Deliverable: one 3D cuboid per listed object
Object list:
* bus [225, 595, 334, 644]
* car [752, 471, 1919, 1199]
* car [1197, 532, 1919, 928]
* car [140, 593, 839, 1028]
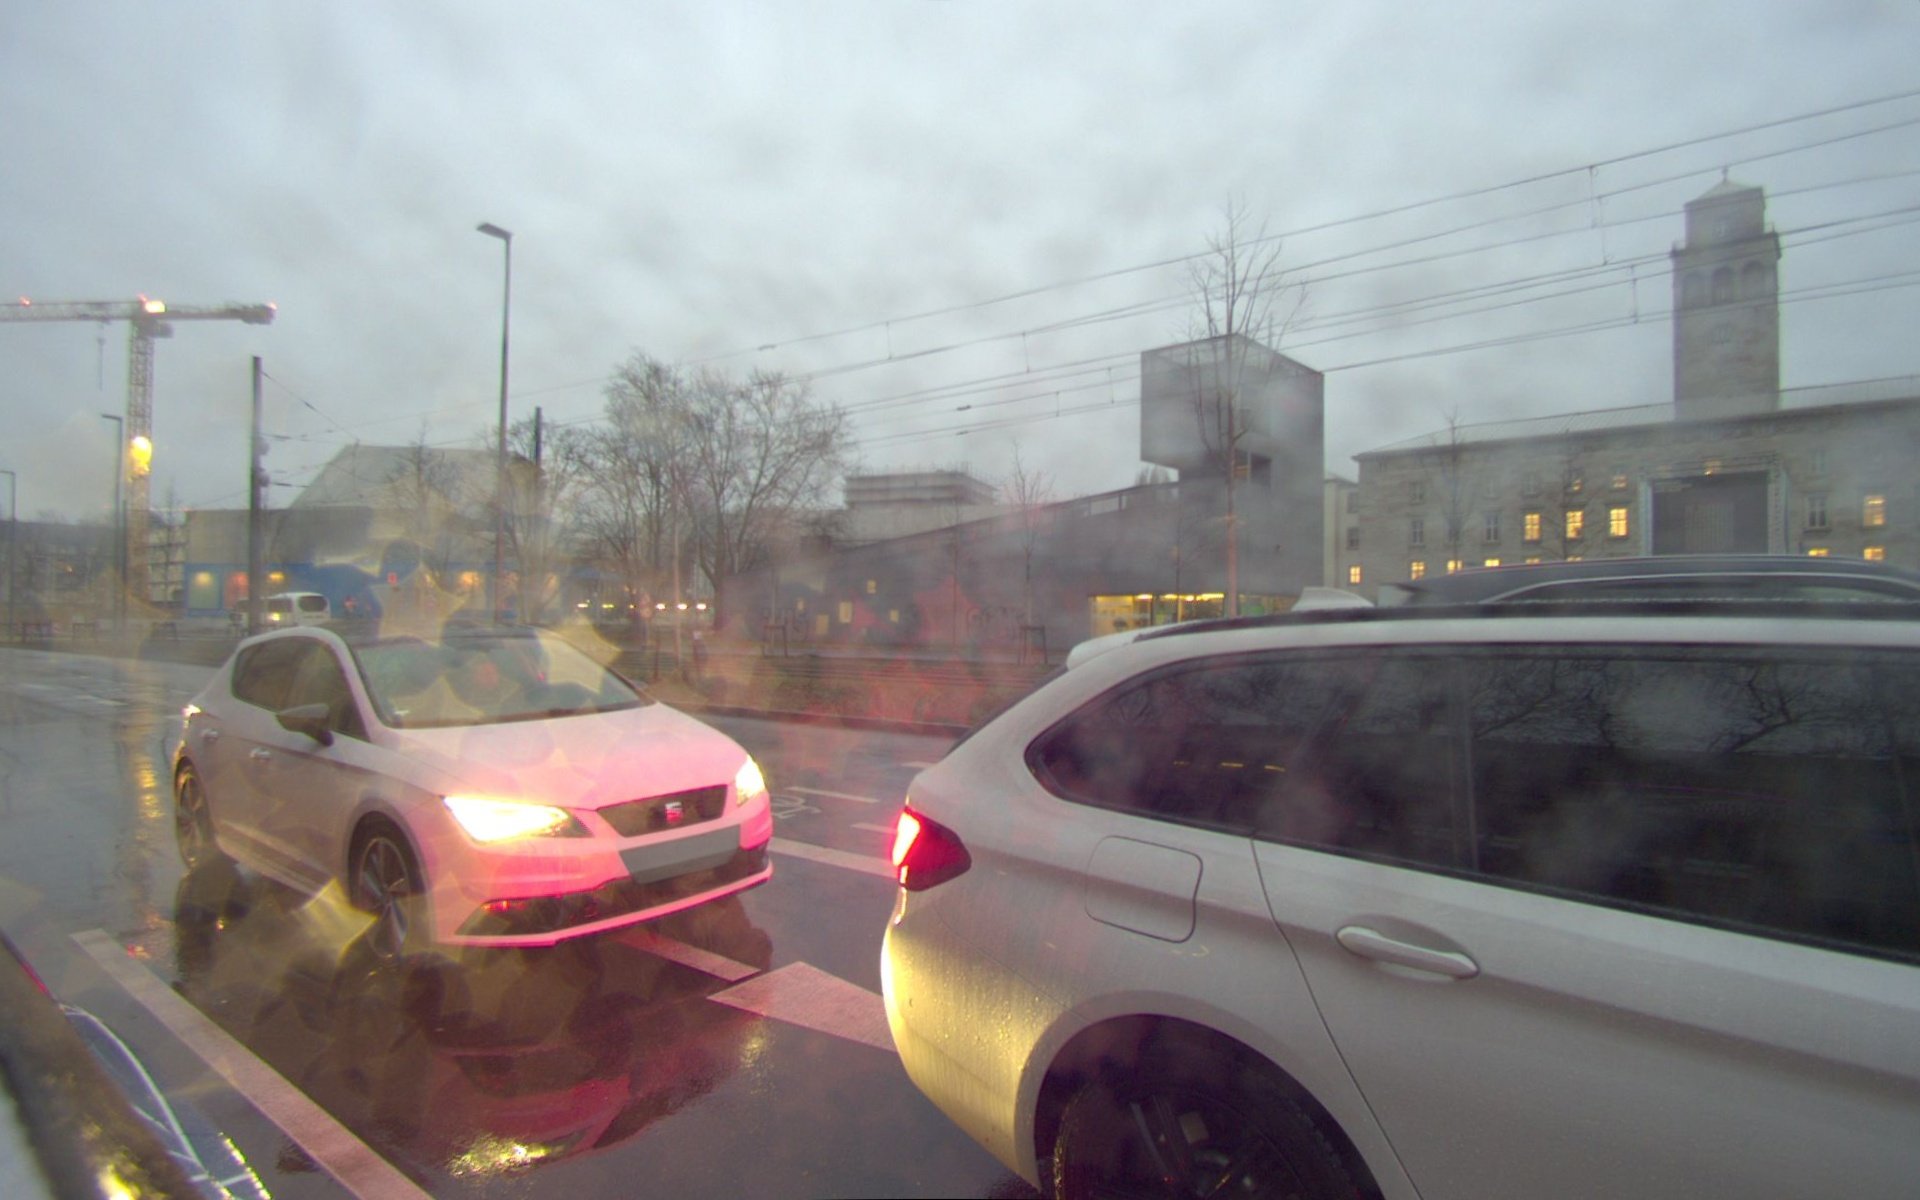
[{"bbox_3d":[-53.283,1.502,79.026,12.277,3.605,2.783,-1,-2,35],"label":"bus"},{"bbox_3d":[1.951,0.628,1.744,4.919,1.532,1.890,-1,-2,40],"label":"car"},{"bbox_3d":[3.871,0.604,5.847,4.604,1.756,1.687,-1,-2,37],"label":"car"},{"bbox_3d":[-2.733,0.750,5.445,4.124,1.486,1.757,-1,-1,38],"label":"car"}]
